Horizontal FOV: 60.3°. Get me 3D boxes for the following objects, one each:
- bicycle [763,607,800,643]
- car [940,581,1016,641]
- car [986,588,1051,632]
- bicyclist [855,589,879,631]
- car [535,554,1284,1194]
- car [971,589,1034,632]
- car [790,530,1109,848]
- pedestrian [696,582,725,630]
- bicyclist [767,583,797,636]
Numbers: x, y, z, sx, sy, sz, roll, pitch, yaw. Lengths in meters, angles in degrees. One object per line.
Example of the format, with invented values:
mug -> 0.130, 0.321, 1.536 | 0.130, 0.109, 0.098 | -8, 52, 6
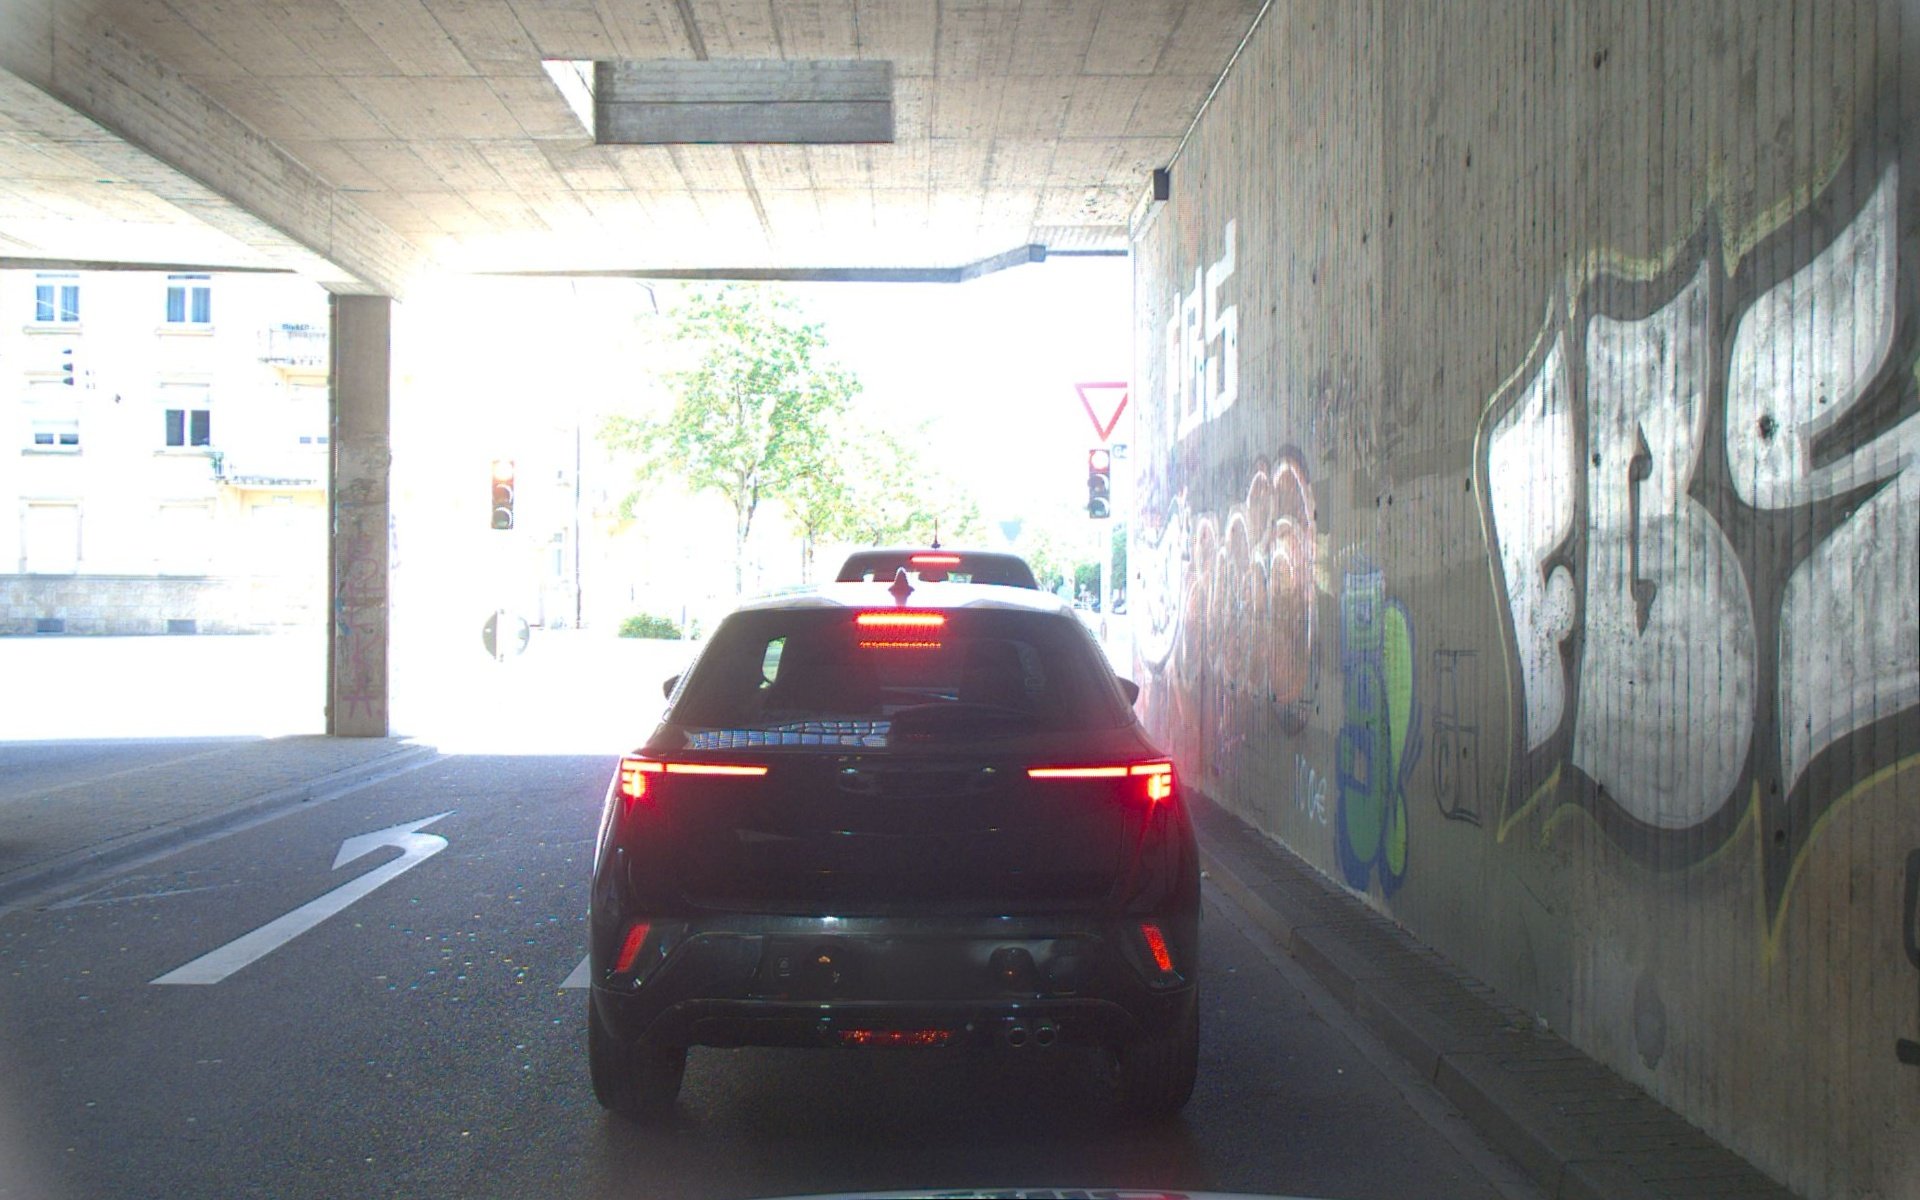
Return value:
bicycle -> -5.554, 0.760, 51.437 | 0.716, 1.086, 1.690 | 1, 0, 9
car -> 0.500, 0.323, 44.194 | 1.927, 1.523, 3.896 | 0, -1, 1
car -> 2.468, 0.467, 69.053 | 2.173, 1.749, 4.463 | 0, -1, 9
bicyclist -> -3.549, 0.376, 63.177 | 0.713, 1.609, 0.815 | 1, -1, 9
car -> -0.148, 0.663, 6.075 | 1.844, 1.565, 3.963 | 0, 0, -1
car -> 1.623, 0.426, 62.231 | 1.926, 1.523, 3.899 | 0, -1, 8
car -> -0.090, 0.523, 11.900 | 1.906, 1.892, 3.963 | 0, 0, -1
pedestrian -> -10.602, 0.243, 70.360 | 0.971, 2.049, 1.089 | 0, 0, 7
bicyclist -> -5.536, 0.295, 51.470 | 0.713, 1.609, 0.815 | 1, -1, 9
